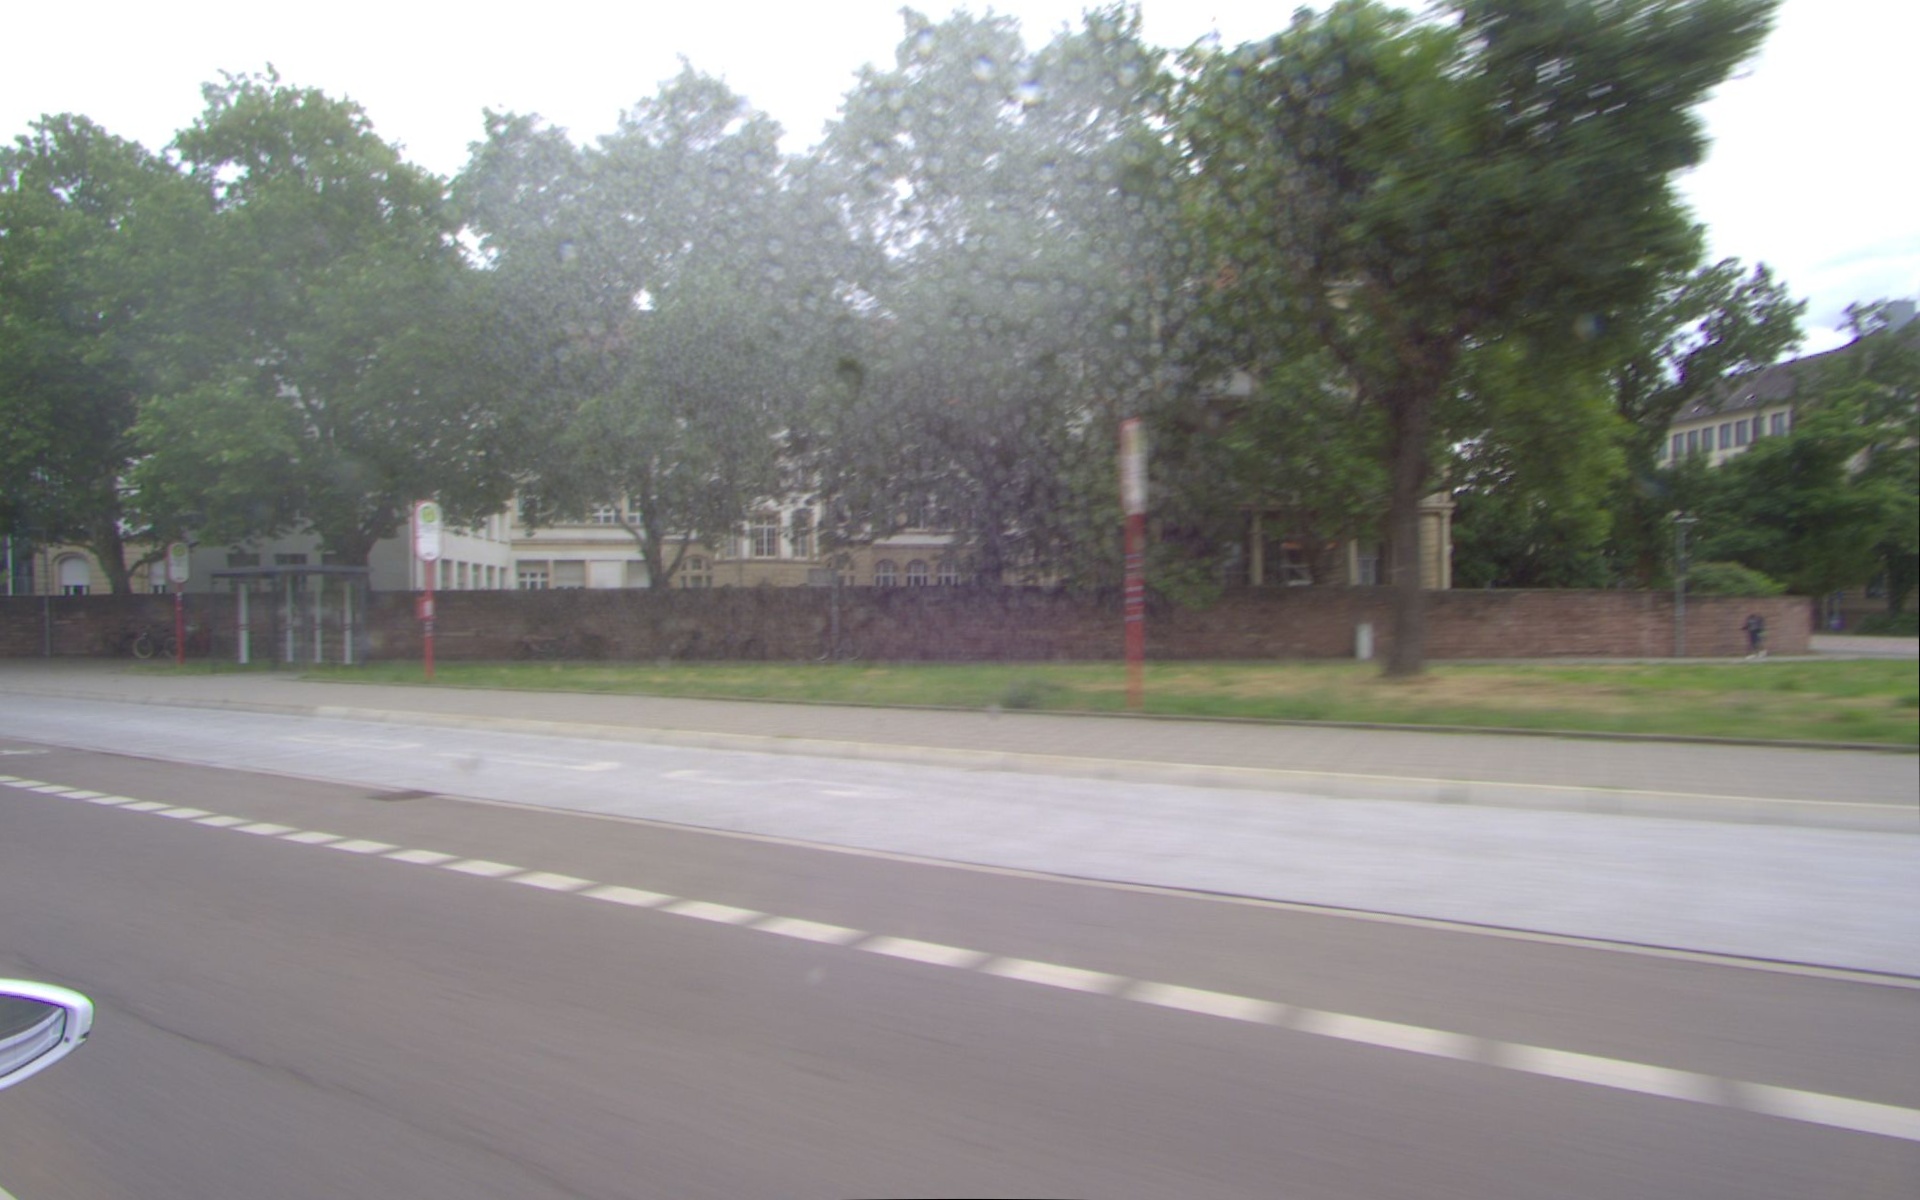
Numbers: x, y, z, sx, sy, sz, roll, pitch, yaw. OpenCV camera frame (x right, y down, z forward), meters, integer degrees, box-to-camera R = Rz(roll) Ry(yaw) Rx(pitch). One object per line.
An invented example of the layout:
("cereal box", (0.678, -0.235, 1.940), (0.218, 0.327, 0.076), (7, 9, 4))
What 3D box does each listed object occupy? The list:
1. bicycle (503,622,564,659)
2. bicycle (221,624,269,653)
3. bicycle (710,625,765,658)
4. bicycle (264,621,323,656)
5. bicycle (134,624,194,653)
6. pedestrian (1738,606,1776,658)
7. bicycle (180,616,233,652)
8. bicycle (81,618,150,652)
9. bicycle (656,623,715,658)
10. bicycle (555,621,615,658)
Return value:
("bicycle", (-13.724, 1.291, 32.235), (1.680, 1.151, 0.595), (-1, 2, 4))
("bicycle", (-24.277, 1.309, 34.010), (1.497, 0.955, 0.416), (0, 2, 12))
("bicycle", (-7.000, 1.305, 31.552), (1.605, 1.005, 0.551), (-1, 2, 1))
("bicycle", (-22.091, 1.276, 33.190), (1.623, 1.119, 0.598), (0, 2, 10))
("bicycle", (-27.587, 1.321, 34.700), (1.737, 0.964, 0.655), (0, 2, 12))
("pedestrian", (27.599, 1.096, 34.682), (0.810, 1.759, 0.754), (-1, 2, -26))
("bicycle", (-25.831, 1.164, 34.341), (1.596, 1.238, 0.500), (0, 2, 12))
("bicycle", (-29.564, 1.224, 35.069), (1.757, 1.115, 0.720), (-1, 2, 0))
("bicycle", (-8.689, 1.278, 31.684), (1.680, 1.073, 0.595), (-1, 2, 4))
("bicycle", (-12.028, 1.268, 32.111), (1.680, 1.145, 0.595), (-1, 2, 4))
